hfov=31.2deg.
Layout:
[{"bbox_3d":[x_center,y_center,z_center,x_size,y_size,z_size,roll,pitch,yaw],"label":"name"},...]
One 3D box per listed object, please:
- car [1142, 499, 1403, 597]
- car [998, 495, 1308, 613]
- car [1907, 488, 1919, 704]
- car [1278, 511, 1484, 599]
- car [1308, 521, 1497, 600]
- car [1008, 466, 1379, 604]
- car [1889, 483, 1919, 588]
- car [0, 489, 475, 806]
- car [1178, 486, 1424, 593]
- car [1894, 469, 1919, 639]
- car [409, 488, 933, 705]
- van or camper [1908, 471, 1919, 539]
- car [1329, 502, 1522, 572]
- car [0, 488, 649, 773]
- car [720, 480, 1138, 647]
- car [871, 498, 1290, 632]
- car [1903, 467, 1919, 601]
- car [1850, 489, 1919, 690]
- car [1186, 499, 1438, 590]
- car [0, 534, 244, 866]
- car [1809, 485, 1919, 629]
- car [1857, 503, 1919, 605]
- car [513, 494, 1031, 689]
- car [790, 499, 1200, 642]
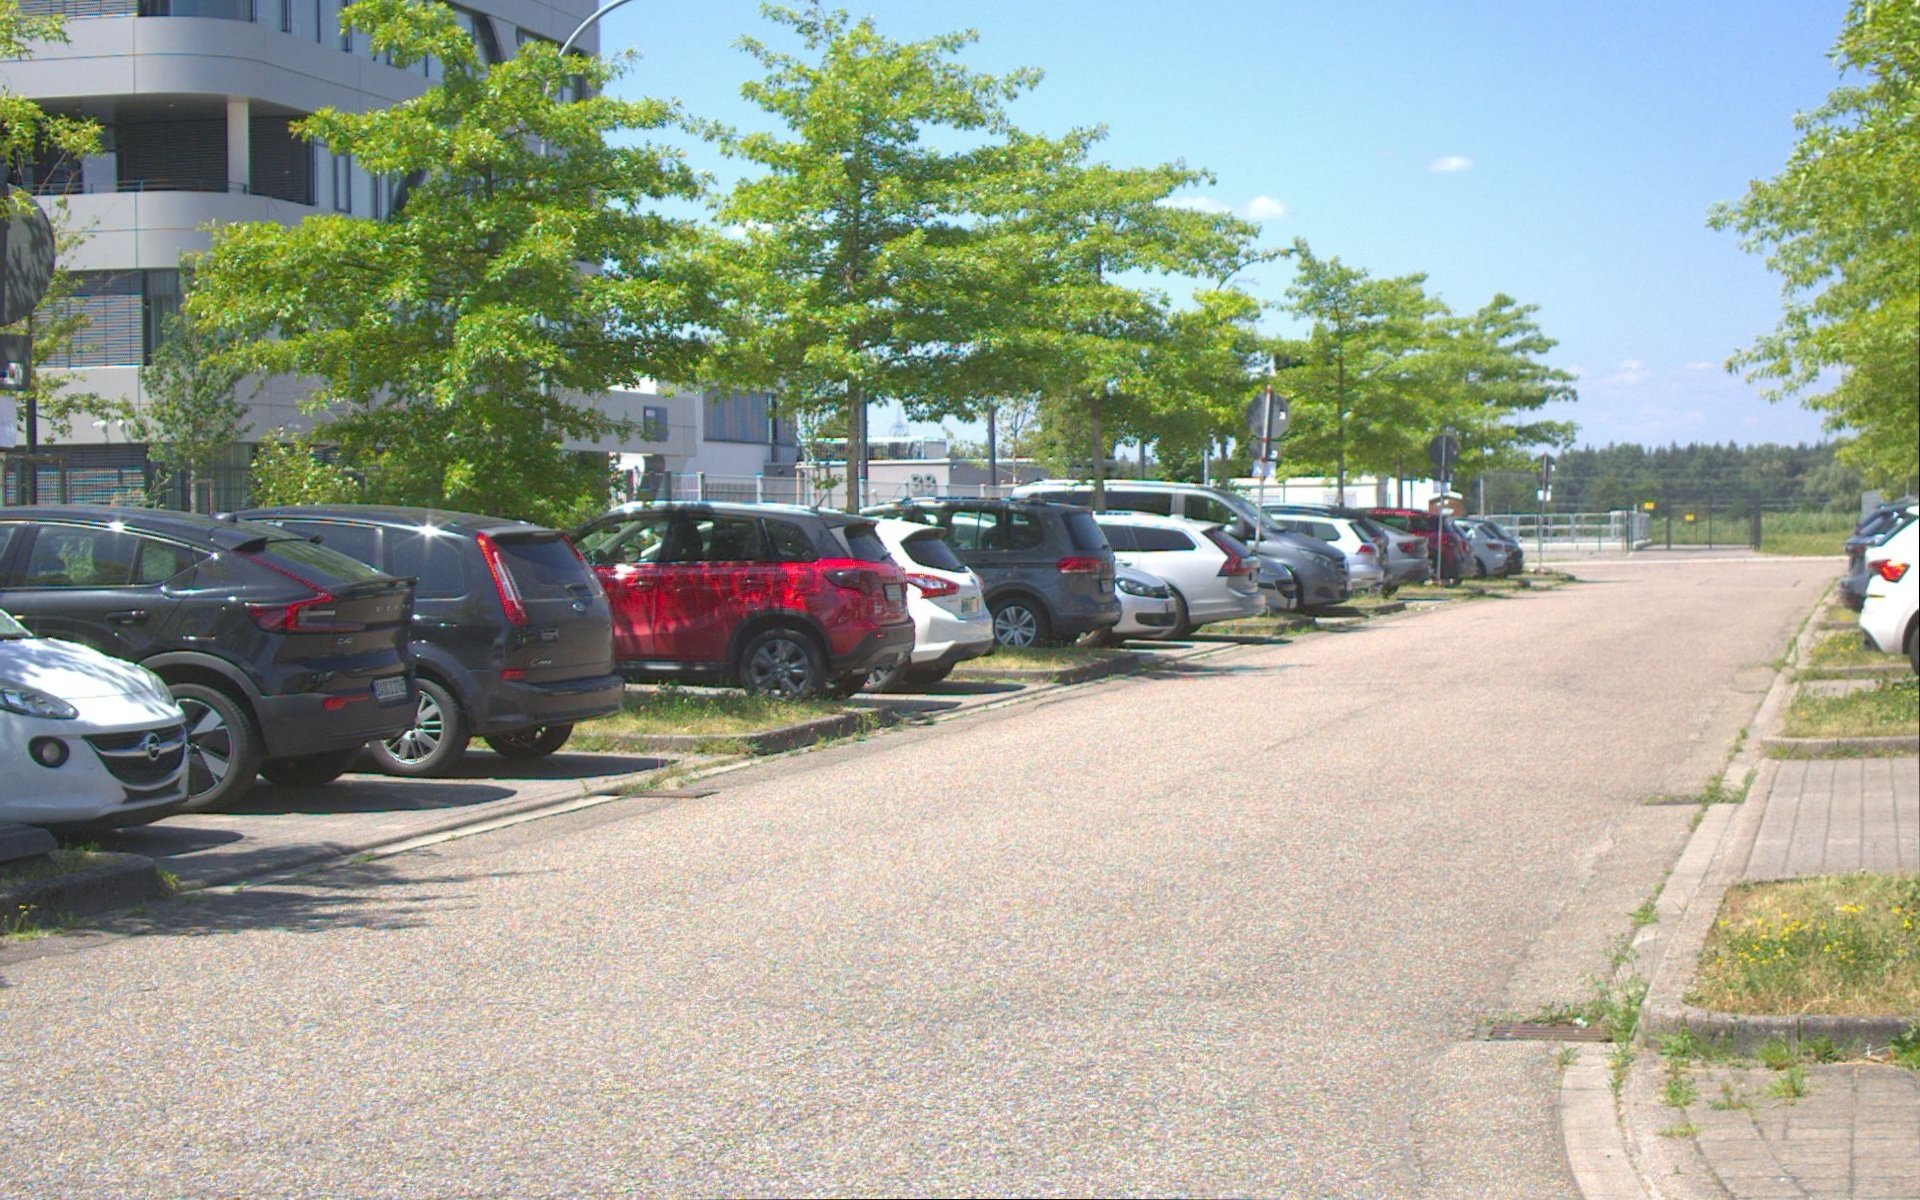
[{"bbox_3d":[5.127,-0.860,56.204,4.039,1.456,1.603,2,1,12],"label":"car"},{"bbox_3d":[2.682,-0.652,47.571,3.972,1.479,1.762,2,2,15],"label":"car"},{"bbox_3d":[8.779,-0.079,24.574,3.837,1.519,1.778,-1,1,15],"label":"car"},{"bbox_3d":[8.234,-0.897,67.195,3.740,1.616,1.815,2,1,16],"label":"car"},{"bbox_3d":[8.990,-0.817,69.700,3.658,1.503,1.730,1,1,11],"label":"car"},{"bbox_3d":[3.421,-0.967,50.258,5.074,1.885,1.995,1,2,17],"label":"car"},{"bbox_3d":[17.096,-1.101,55.761,3.878,1.672,1.781,-2,1,15],"label":"car"},{"bbox_3d":[-4.848,0.197,19.126,3.840,1.588,1.828,2,2,12],"label":"car"},{"bbox_3d":[5.819,-1.030,58.421,3.989,1.673,1.776,2,1,10],"label":"car"},{"bbox_3d":[11.129,-0.515,33.137,4.049,1.619,1.692,-2,1,16],"label":"car"},{"bbox_3d":[-2.298,-0.065,27.686,3.841,1.586,1.726,2,2,13],"label":"car"},{"bbox_3d":[32.949,-3.068,110.089,4.939,2.156,1.999,0,1,14],"label":"van or camper"},{"bbox_3d":[10.352,-1.402,76.348,4.077,1.419,1.873,2,1,11],"label":"car"},{"bbox_3d":[-4.088,0.137,21.396,3.909,1.586,1.726,2,2,15],"label":"car"},{"bbox_3d":[-0.311,-0.419,36.579,4.120,1.629,1.726,2,2,14],"label":"car"},{"bbox_3d":[1.461,-0.447,41.003,4.715,1.442,1.856,2,2,12],"label":"car"},{"bbox_3d":[15.264,-0.984,47.179,4.406,1.823,1.794,-2,0,16],"label":"car"},{"bbox_3d":[9.089,-0.126,27.059,3.838,1.548,1.778,-1,2,21],"label":"car"},{"bbox_3d":[6.278,-1.002,61.153,4.196,1.475,1.711,2,2,16],"label":"car"},{"bbox_3d":[-5.466,0.398,16.619,3.507,1.436,1.726,2,2,15],"label":"car"},{"bbox_3d":[12.024,-0.550,38.591,4.718,1.555,1.913,-2,1,12],"label":"car"},{"bbox_3d":[17.455,-0.838,58.474,4.176,1.690,1.781,-2,1,14],"label":"car"},{"bbox_3d":[-1.639,-0.114,30.315,4.175,1.508,1.806,2,3,17],"label":"car"},{"bbox_3d":[0.416,-0.359,38.695,4.313,1.468,1.726,2,2,13],"label":"car"}]
